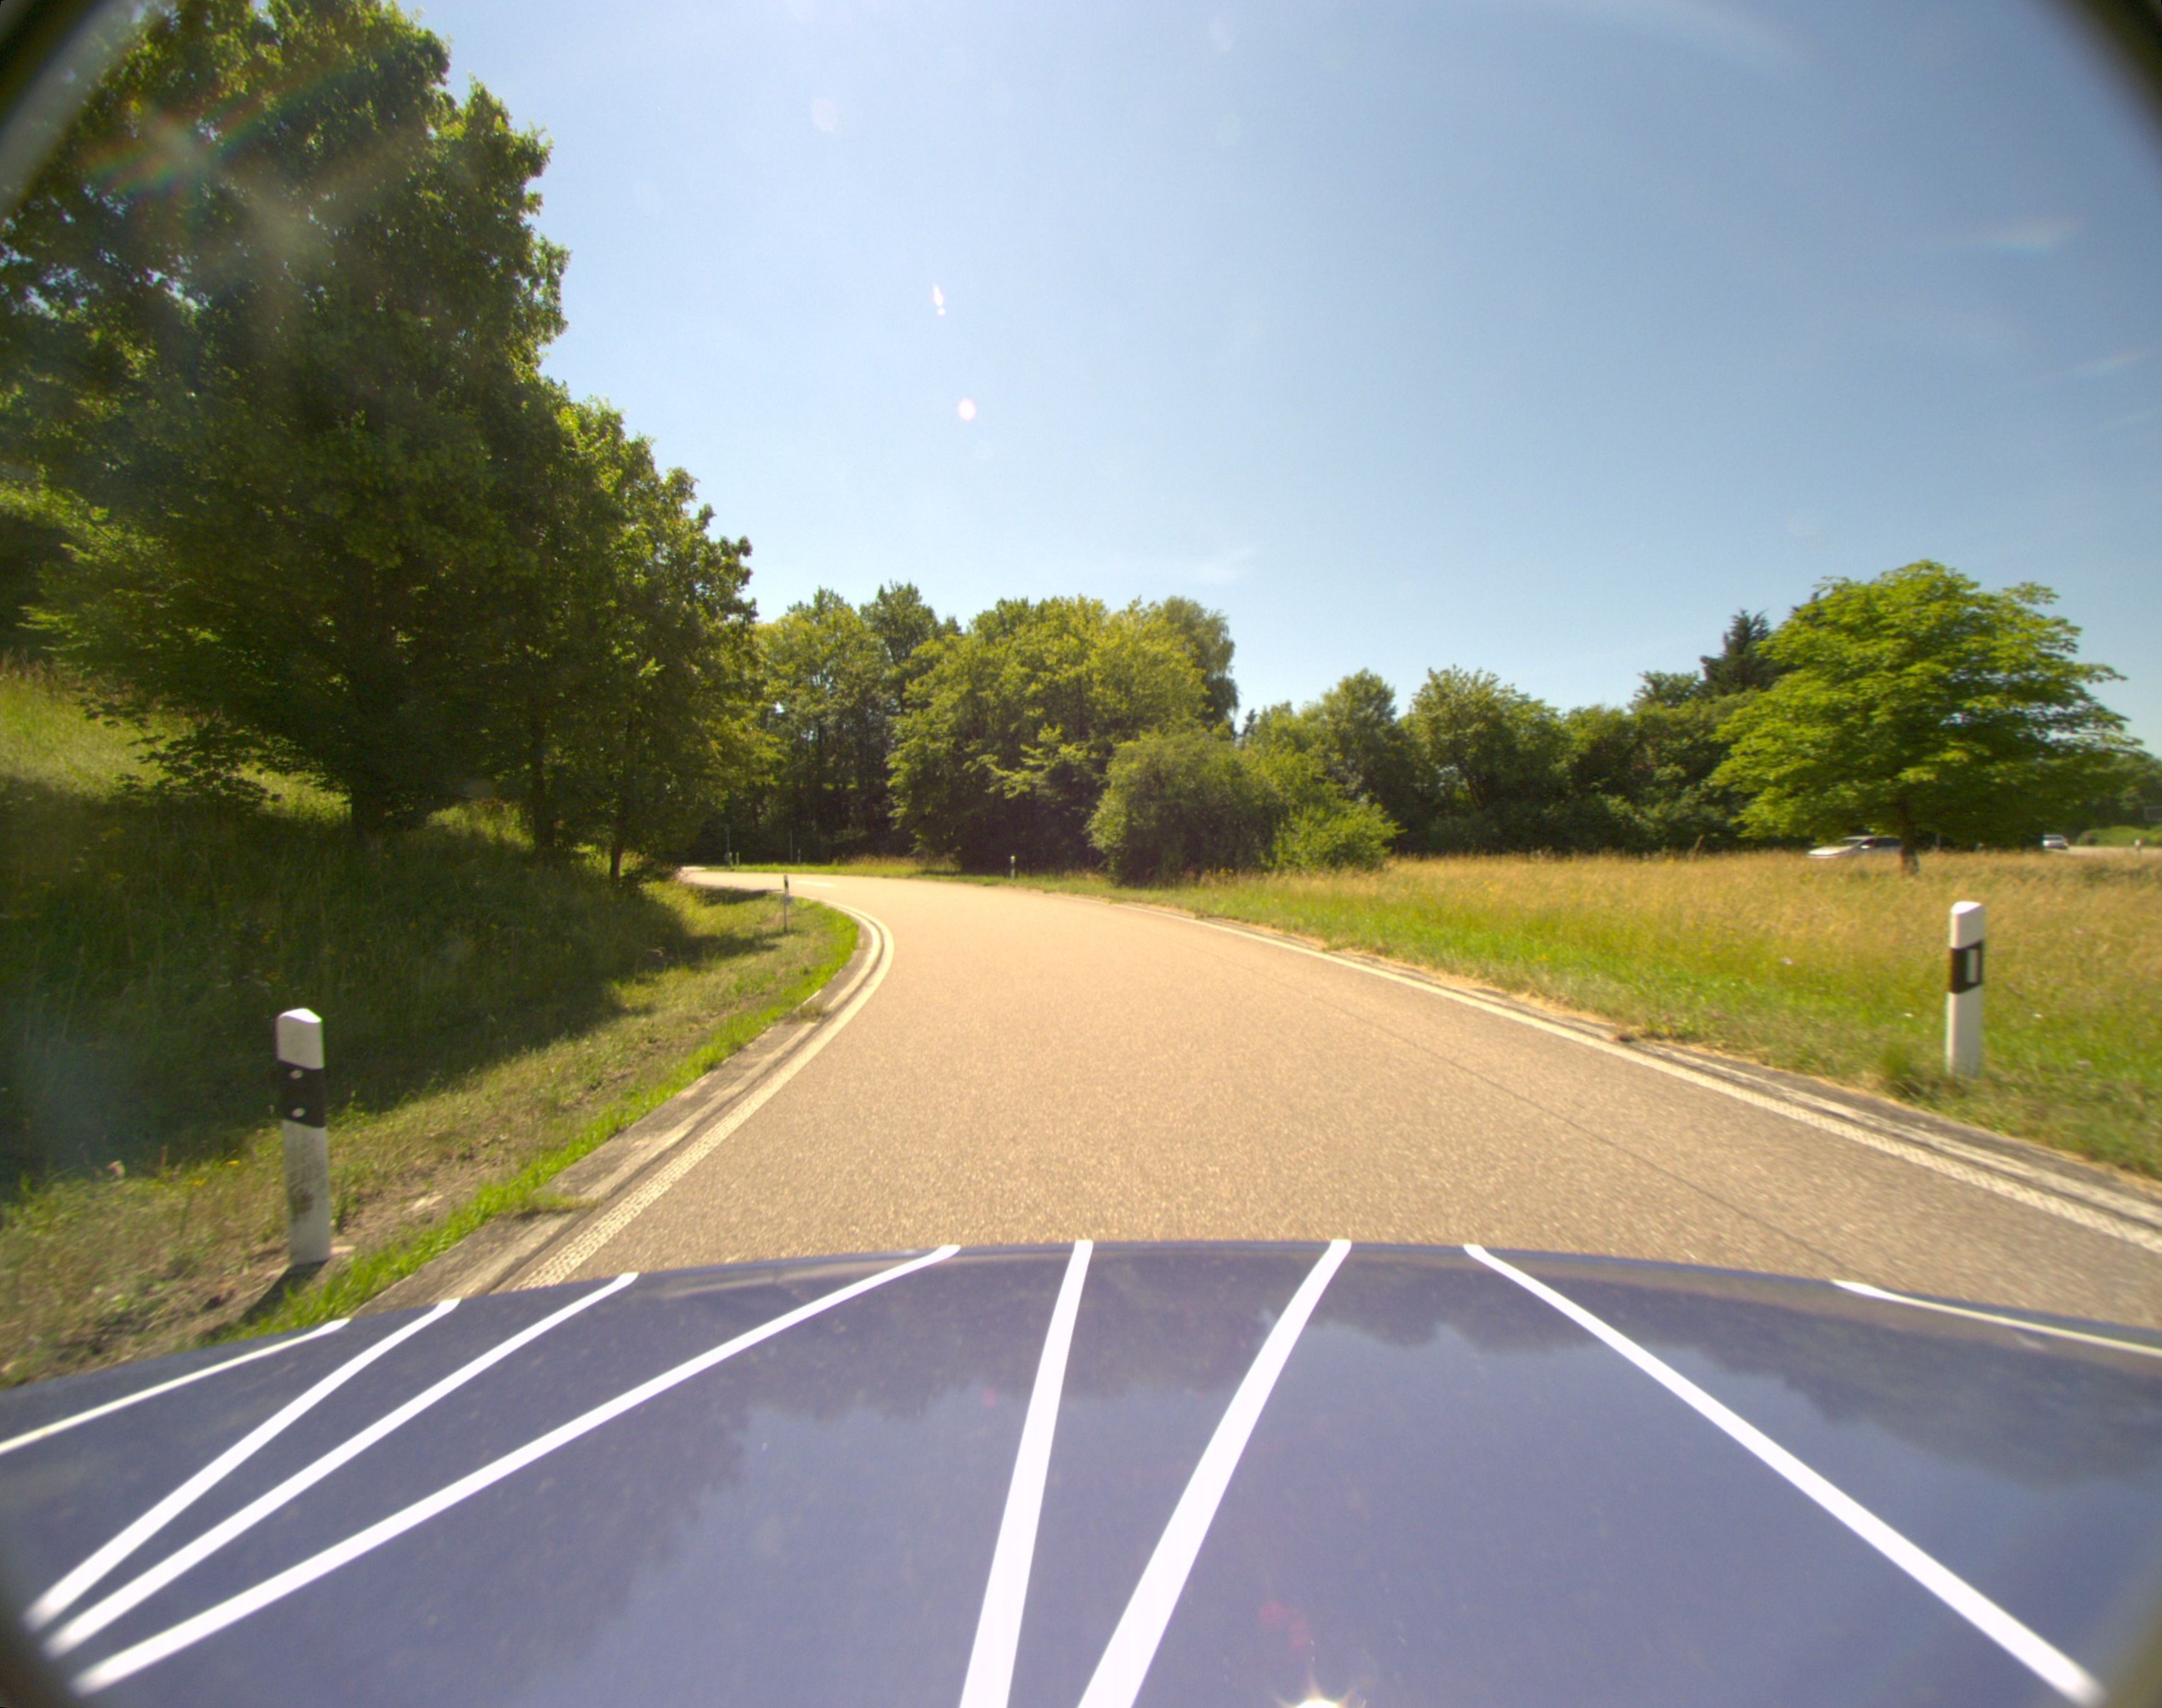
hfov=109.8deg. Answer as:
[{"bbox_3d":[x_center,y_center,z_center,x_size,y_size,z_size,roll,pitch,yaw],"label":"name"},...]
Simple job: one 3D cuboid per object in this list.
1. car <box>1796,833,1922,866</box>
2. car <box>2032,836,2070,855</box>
[{"bbox_3d":[38.775,-0.228,37.981,3.991,1.586,1.859,0,0,18],"label":"car"},{"bbox_3d":[106.349,-0.945,83.359,1.909,1.949,4.466,0,0,43],"label":"car"}]
